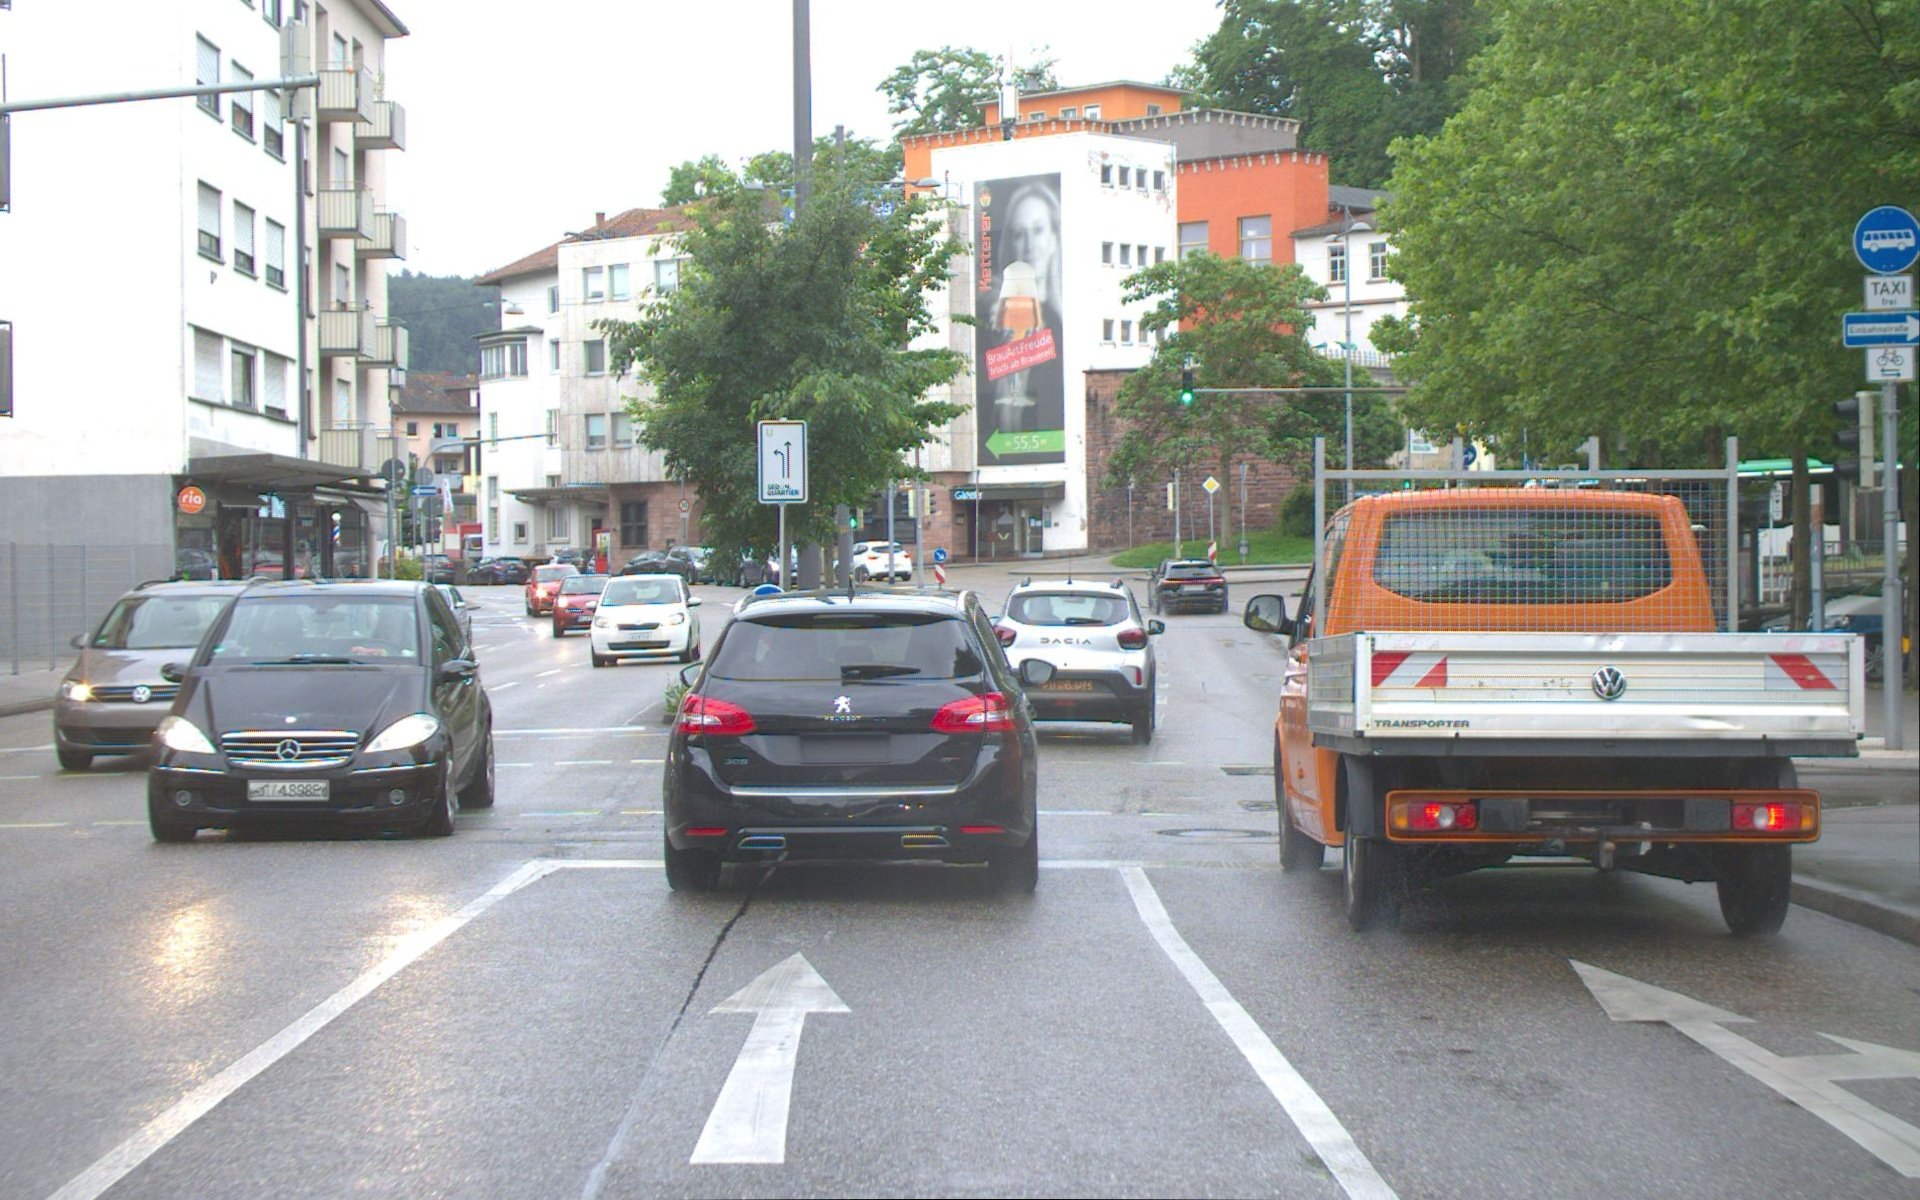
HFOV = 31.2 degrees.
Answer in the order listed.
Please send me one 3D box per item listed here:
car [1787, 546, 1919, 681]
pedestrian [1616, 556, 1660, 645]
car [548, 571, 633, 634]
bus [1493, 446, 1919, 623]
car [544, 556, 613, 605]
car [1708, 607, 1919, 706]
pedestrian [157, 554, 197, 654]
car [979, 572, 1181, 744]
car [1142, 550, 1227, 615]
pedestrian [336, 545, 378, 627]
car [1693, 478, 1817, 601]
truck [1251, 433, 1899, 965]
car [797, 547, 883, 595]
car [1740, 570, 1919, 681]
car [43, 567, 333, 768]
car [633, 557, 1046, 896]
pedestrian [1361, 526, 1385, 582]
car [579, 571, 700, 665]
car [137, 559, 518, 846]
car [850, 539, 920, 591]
[{"bbox_3d":[14.501,0.207,50.999,3.987,1.918,1.970,1,1,2],"label":"car"},{"bbox_3d":[13.007,-0.002,65.982,0.724,1.694,0.623,1,0,1],"label":"pedestrian"},{"bbox_3d":[-8.787,0.050,81.989,1.664,1.395,3.877,-2,1,-2],"label":"car"},{"bbox_3d":[25.349,-1.960,104.052,17.919,5.193,3.099,0,1,2],"label":"bus"},{"bbox_3d":[-11.136,-0.586,100.534,1.690,1.397,3.662,0,1,-2],"label":"car"},{"bbox_3d":[14.885,0.958,58.365,3.987,1.504,1.743,2,1,2],"label":"car"},{"bbox_3d":[-14.697,0.071,64.514,0.639,1.854,0.524,0,1,-2],"label":"pedestrian"},{"bbox_3d":[1.138,0.504,32.718,1.795,1.478,4.000,-1,1,2],"label":"car"},{"bbox_3d":[5.846,-0.435,89.933,1.644,1.559,3.600,2,-1,-5],"label":"car"},{"bbox_3d":[-14.937,-0.350,85.193,0.726,2.007,0.657,3,-2,-34],"label":"pedestrian"},{"bbox_3d":[19.625,-1.481,85.040,2.072,2.960,4.227,0,1,0],"label":"car"},{"bbox_3d":[2.576,0.331,15.660,2.122,2.018,4.716,1,1,1],"label":"truck"},{"bbox_3d":[-4.207,-0.987,119.859,1.644,1.559,3.601,3,-1,-25],"label":"car"},{"bbox_3d":[14.806,0.423,55.437,3.987,1.644,1.917,2,1,2],"label":"car"},{"bbox_3d":[-6.730,0.540,30.351,1.736,1.596,3.920,-1,1,-1],"label":"car"},{"bbox_3d":[-0.492,0.554,17.407,1.795,1.478,4.000,1,0,2],"label":"car"},{"bbox_3d":[12.563,-1.408,104.574,0.639,1.658,0.563,-2,2,-2],"label":"pedestrian"},{"bbox_3d":[-5.297,0.274,57.207,1.654,1.445,3.543,-2,1,0],"label":"car"},{"bbox_3d":[-3.965,0.578,22.149,1.736,1.596,3.919,-2,1,-1],"label":"car"},{"bbox_3d":[-2.687,-1.260,122.469,1.993,1.815,4.001,0,1,-8],"label":"car"}]
